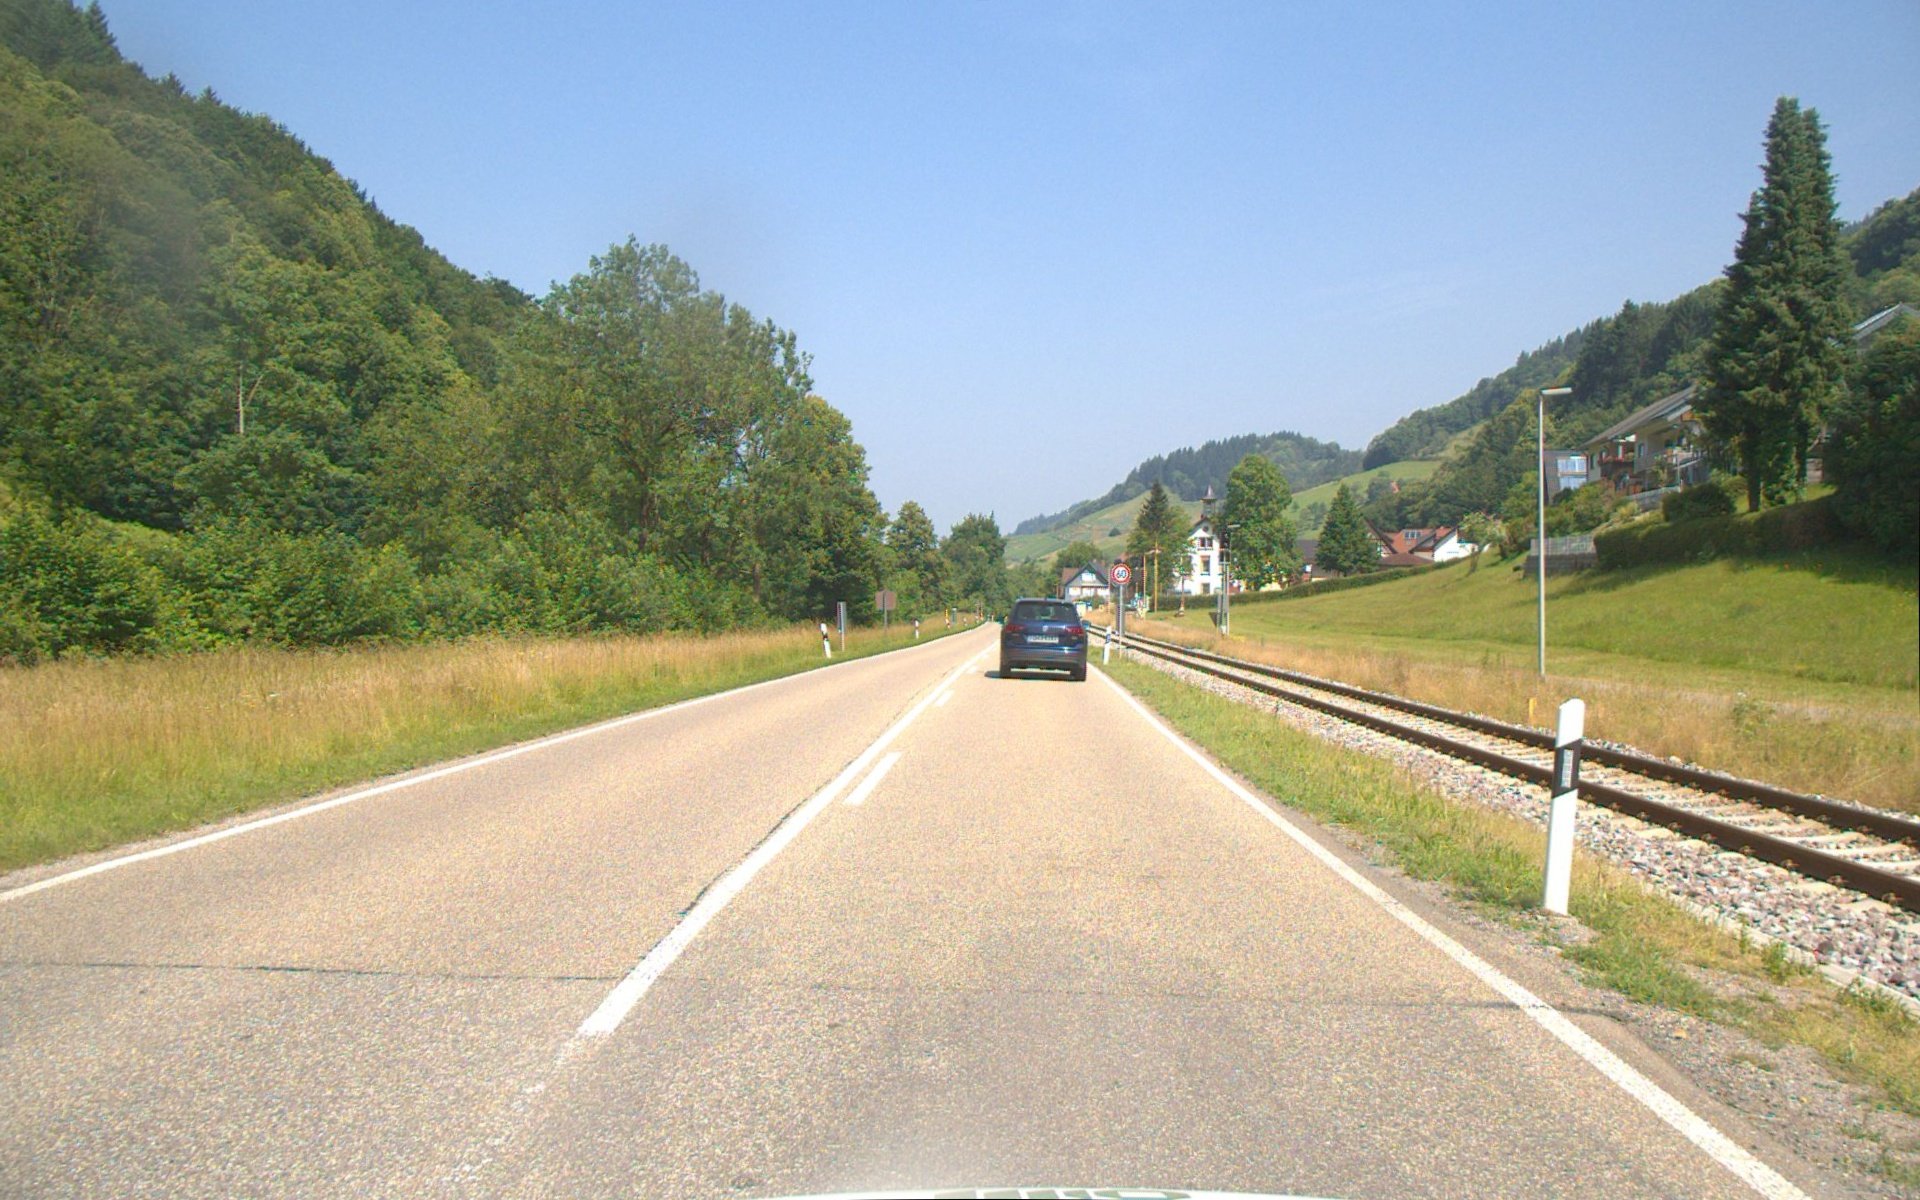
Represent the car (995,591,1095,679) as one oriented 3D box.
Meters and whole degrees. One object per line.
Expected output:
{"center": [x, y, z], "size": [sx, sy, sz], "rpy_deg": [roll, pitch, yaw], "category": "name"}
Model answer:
{"center": [1.723, 0.703, 34.761], "size": [1.815, 1.678, 4.139], "rpy_deg": [2, 0, 0], "category": "car"}
